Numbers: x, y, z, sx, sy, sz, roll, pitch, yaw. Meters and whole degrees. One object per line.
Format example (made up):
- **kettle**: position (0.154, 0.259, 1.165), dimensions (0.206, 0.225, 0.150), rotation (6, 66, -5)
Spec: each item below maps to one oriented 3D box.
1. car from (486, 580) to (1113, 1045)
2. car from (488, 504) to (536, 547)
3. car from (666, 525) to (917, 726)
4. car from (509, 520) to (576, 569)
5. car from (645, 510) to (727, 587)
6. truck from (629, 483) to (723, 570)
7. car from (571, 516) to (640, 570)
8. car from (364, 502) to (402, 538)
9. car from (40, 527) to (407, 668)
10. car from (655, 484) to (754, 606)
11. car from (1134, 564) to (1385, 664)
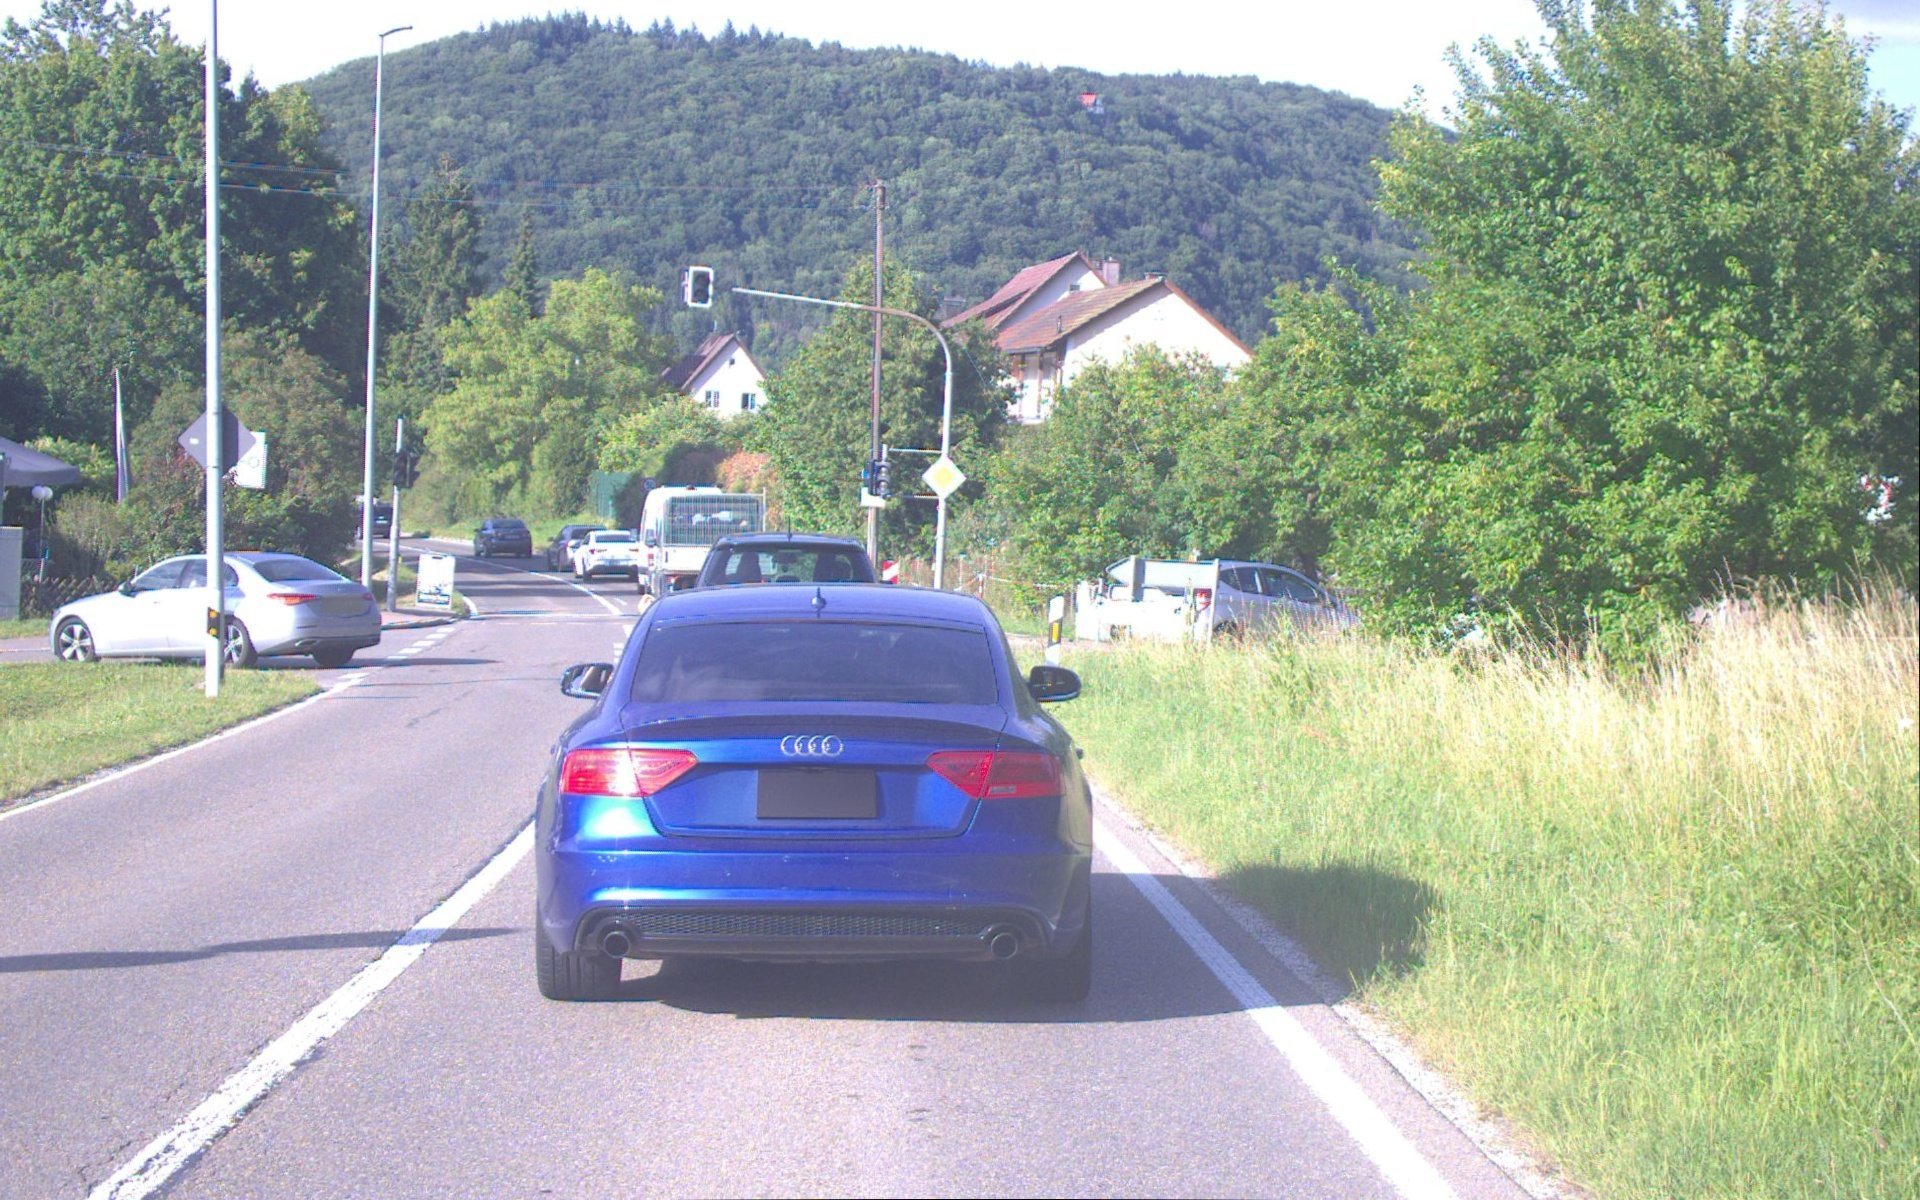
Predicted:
- **car**: position (-0.399, 0.628, 12.311), dimensions (1.795, 1.383, 3.999), rotation (0, 0, 4)
- **car**: position (-16.581, -2.736, 127.195), dimensions (1.697, 1.485, 3.527), rotation (1, 0, -7)
- **car**: position (-1.423, 0.203, 30.556), dimensions (1.746, 1.634, 3.999), rotation (1, 0, 4)
- **car**: position (-13.099, -1.728, 107.763), dimensions (1.697, 1.485, 3.528), rotation (1, 0, -13)
- **car**: position (-6.068, -1.122, 76.168), dimensions (1.746, 1.634, 4.001), rotation (1, 0, -5)
- **truck**: position (-6.802, -1.699, 81.777), dimensions (1.697, 1.947, 5.924), rotation (1, 0, -10)
- **car**: position (-10.134, -1.617, 98.150), dimensions (1.697, 1.485, 3.528), rotation (1, 0, -10)
- **car**: position (-26.674, -3.688, 158.835), dimensions (1.625, 1.571, 3.680), rotation (1, 0, -10)
- **car**: position (-9.116, -0.051, 42.428), dimensions (4.457, 1.634, 1.807), rotation (1, 0, 34)
- **car**: position (-4.796, -1.003, 64.383), dimensions (1.746, 2.188, 4.001), rotation (1, 0, -5)
- **car**: position (4.607, 0.223, 52.631), dimensions (3.720, 1.472, 1.629), rotation (1, 0, -39)
